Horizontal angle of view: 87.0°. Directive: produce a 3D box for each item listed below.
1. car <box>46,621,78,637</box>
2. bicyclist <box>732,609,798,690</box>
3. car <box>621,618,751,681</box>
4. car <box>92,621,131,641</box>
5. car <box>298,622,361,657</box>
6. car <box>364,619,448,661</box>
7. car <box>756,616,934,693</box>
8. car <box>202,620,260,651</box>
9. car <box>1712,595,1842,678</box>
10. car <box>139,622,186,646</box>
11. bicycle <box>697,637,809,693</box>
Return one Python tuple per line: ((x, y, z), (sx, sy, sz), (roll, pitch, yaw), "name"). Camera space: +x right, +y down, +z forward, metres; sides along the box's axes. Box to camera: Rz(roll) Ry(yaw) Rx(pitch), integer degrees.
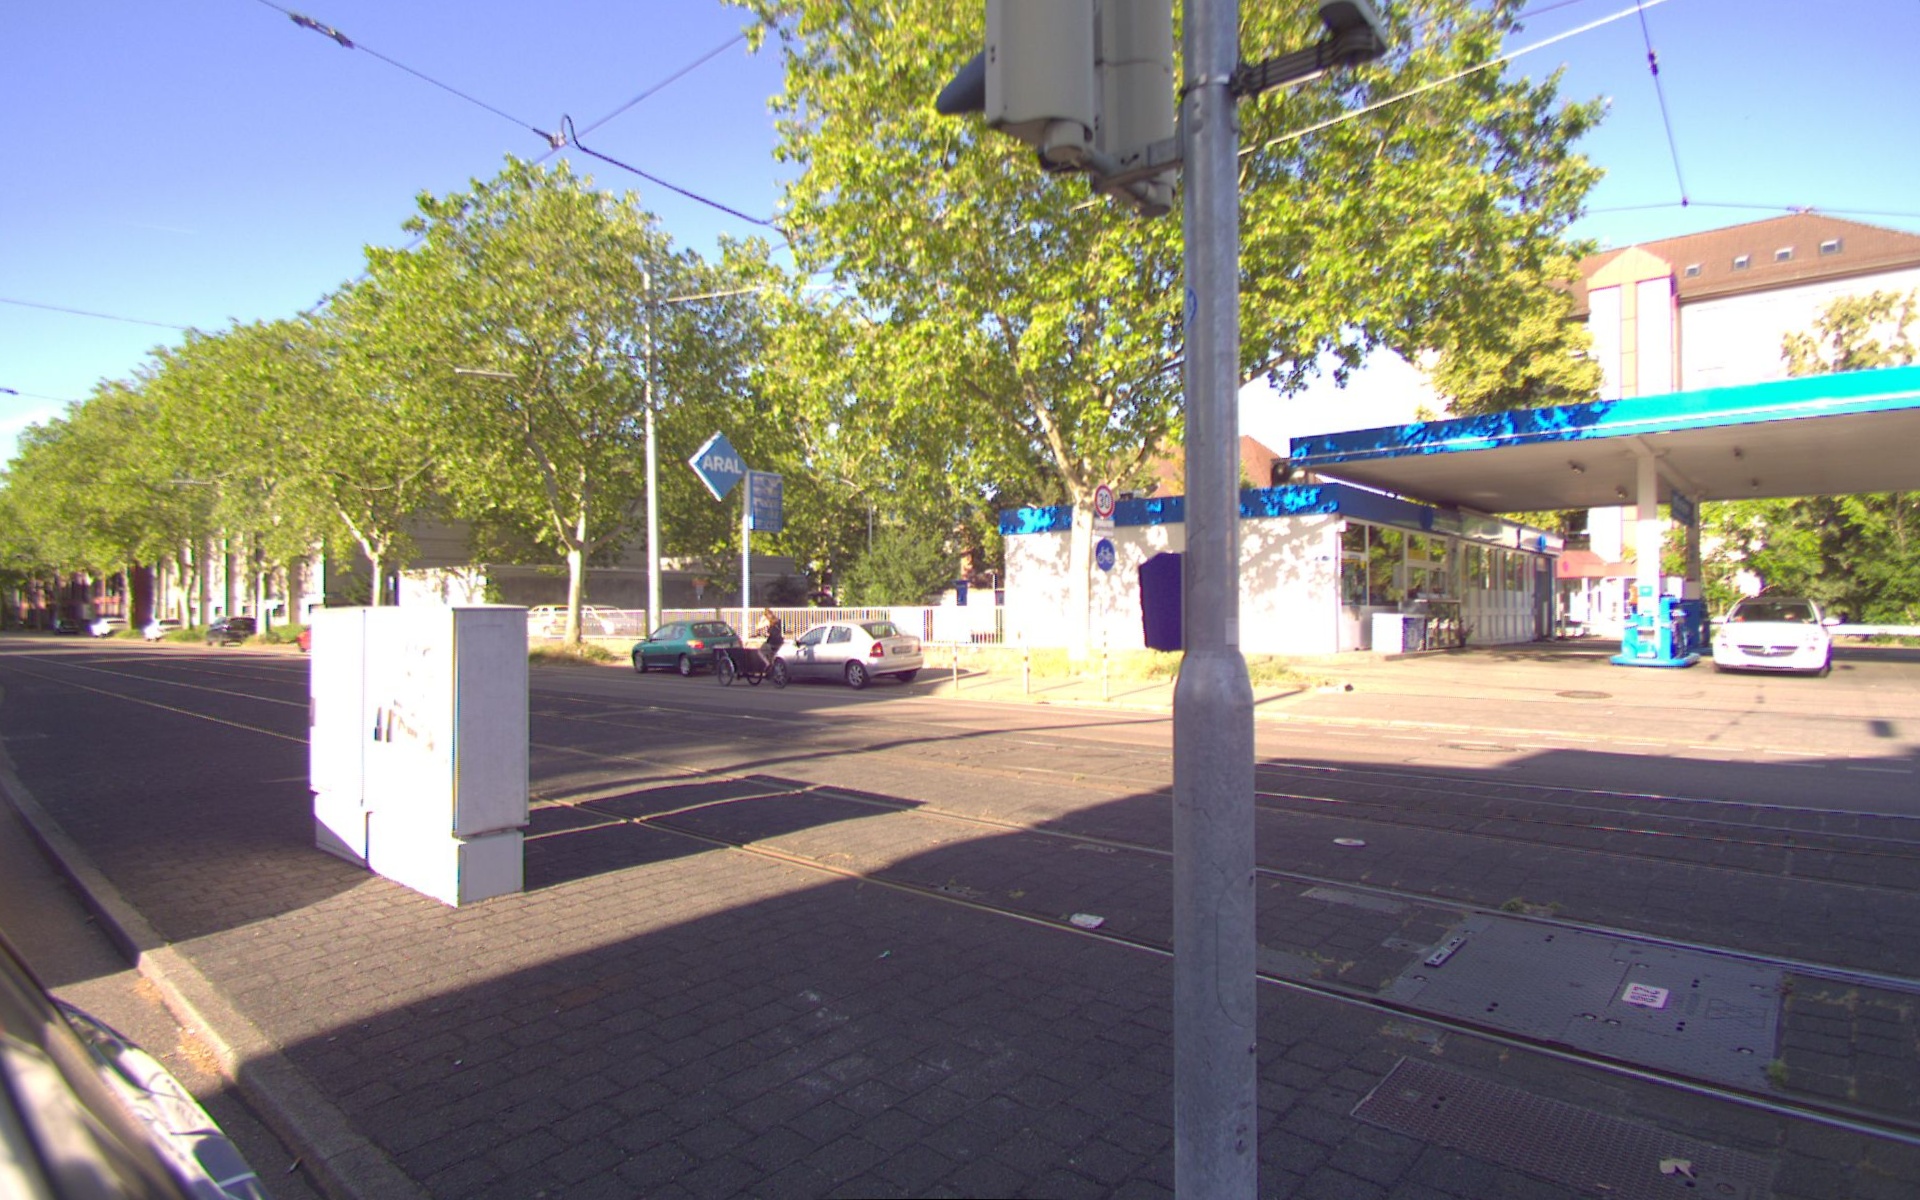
((-85.329, 2.730, 96.109), (3.998, 1.525, 1.779), (-1, -1, 41), "car")
((-4.125, 1.028, 21.414), (1.027, 1.650, 0.922), (-2, -1, 41), "bicyclist")
((-7.331, 1.276, 26.927), (3.519, 1.475, 1.670), (-1, 2, 43), "car")
((-66.689, 2.400, 79.522), (3.998, 1.525, 1.779), (-1, -1, 41), "car")
((-28.559, 1.750, 45.794), (3.045, 1.519, 1.620), (-1, -1, 41), "car")
((-21.944, 1.550, 40.046), (3.652, 1.541, 1.802), (-1, -1, 41), "car")
((-2.632, 1.158, 22.658), (3.965, 1.475, 1.771), (-1, 2, 43), "car")
((-40.758, 1.952, 56.584), (3.998, 1.674, 1.779), (-1, -1, 41), "car")
((16.025, 0.676, 19.904), (1.812, 1.453, 3.947), (-1, -1, 39), "car")
((-53.725, 2.265, 68.157), (3.998, 1.509, 1.779), (-1, -1, 41), "car")
((-4.457, 1.359, 21.676), (2.518, 1.110, 1.045), (-1, -3, 41), "bicycle")
